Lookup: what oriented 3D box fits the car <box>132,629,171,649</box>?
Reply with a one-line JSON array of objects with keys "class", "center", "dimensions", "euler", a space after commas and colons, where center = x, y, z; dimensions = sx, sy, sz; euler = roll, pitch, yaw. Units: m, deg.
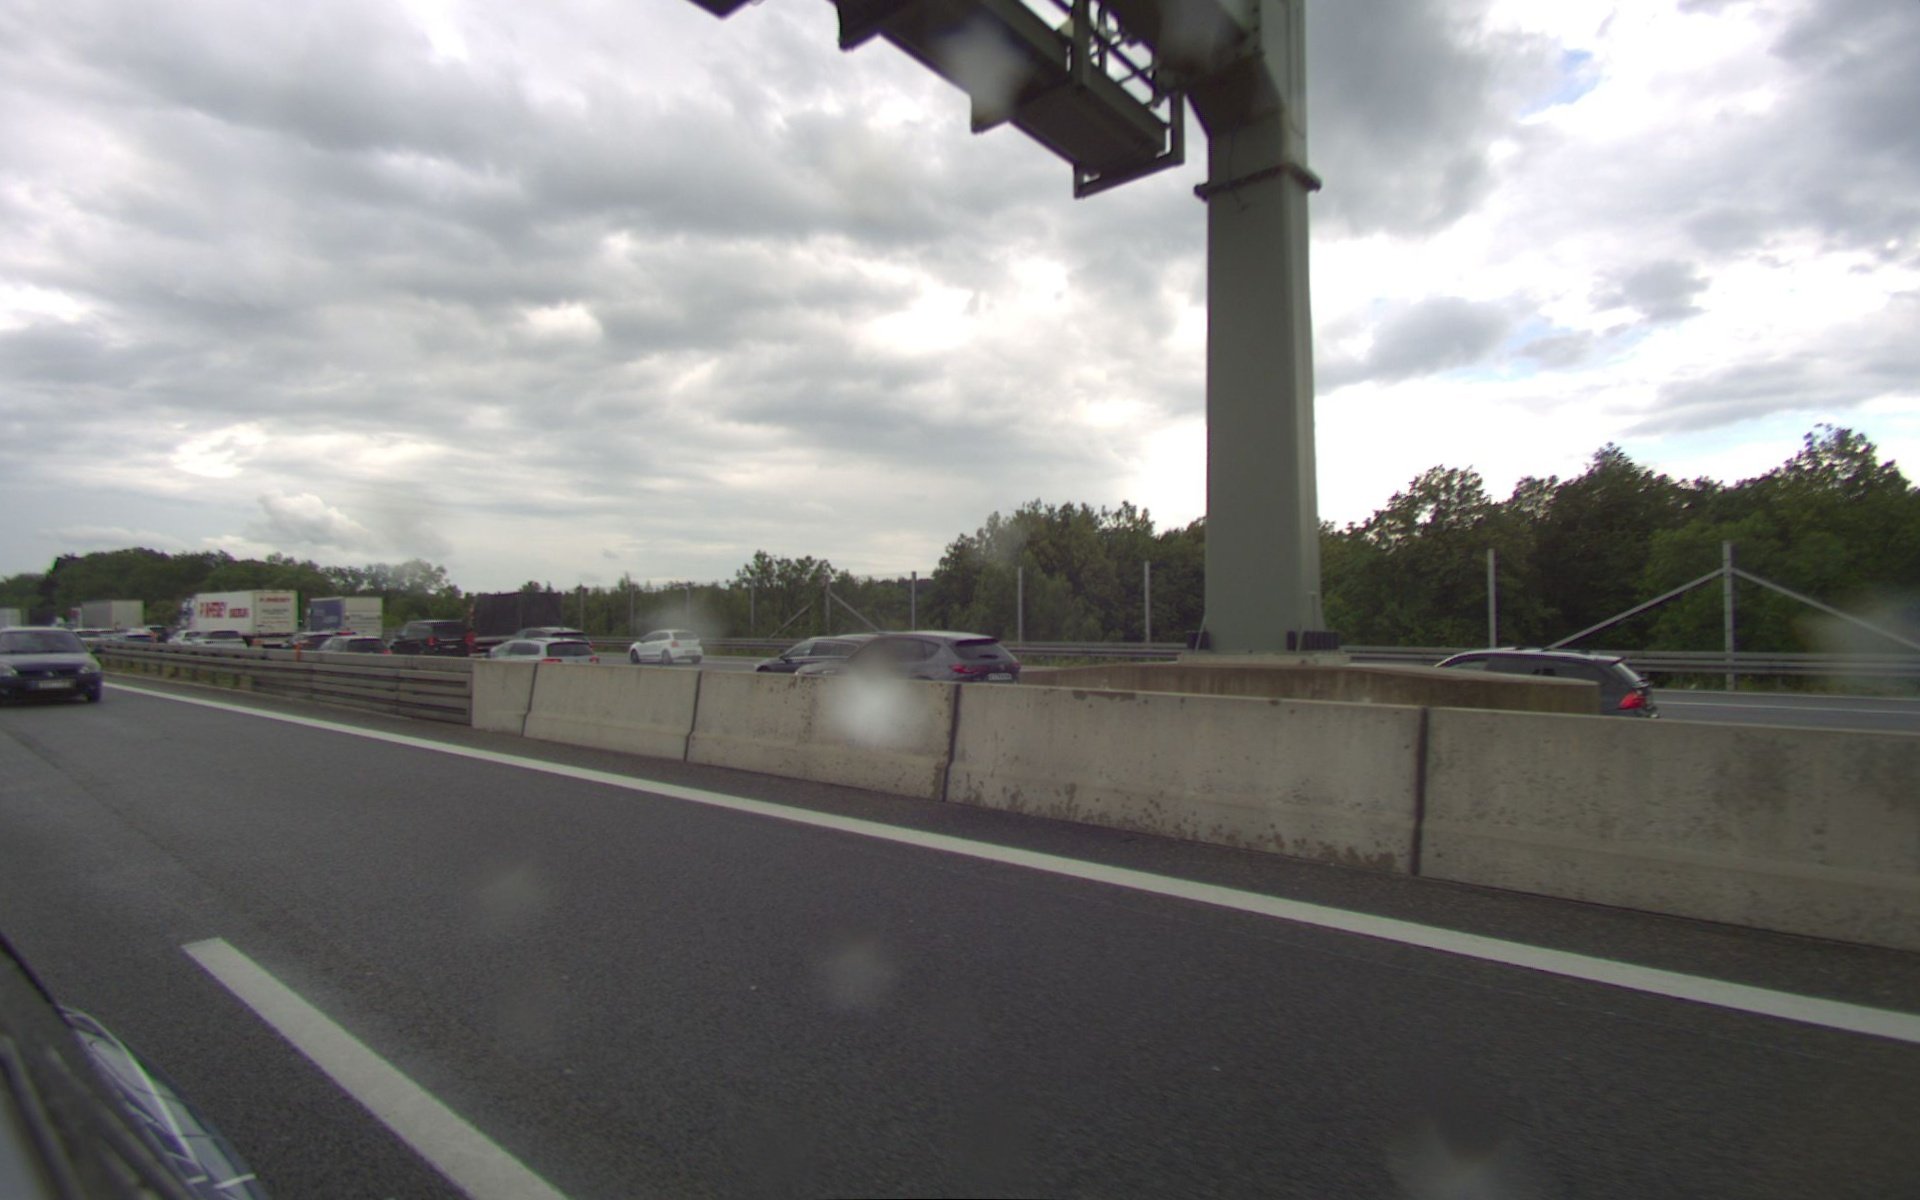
[{"class": "car", "center": [-71.640, 3.471, 89.623], "dimensions": [4.572, 1.761, 1.947], "euler": [-2, -3, 41]}]

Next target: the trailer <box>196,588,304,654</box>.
[{"class": "trailer", "center": [-48.918, 1.569, 69.533], "dimensions": [11.947, 4.226, 3.154], "euler": [-2, -3, 40]}]

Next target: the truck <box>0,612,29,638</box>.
[{"class": "truck", "center": [-151.342, 3.976, 161.470], "dimensions": [11.686, 4.012, 2.692], "euler": [-2, -2, 41]}]

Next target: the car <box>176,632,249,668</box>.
[{"class": "car", "center": [-36.970, 2.451, 50.027], "dimensions": [4.718, 1.660, 1.853], "euler": [-2, -3, 40]}]

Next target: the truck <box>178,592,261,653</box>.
[{"class": "truck", "center": [-54.189, 1.717, 73.984], "dimensions": [7.731, 4.226, 3.145], "euler": [-2, -3, 40]}]

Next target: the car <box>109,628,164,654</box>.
[{"class": "car", "center": [-46.691, 2.298, 57.349], "dimensions": [4.727, 1.451, 1.628], "euler": [-2, -2, 41]}]

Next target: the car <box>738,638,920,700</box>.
[{"class": "car", "center": [-3.295, 1.646, 24.876], "dimensions": [4.560, 1.350, 1.870], "euler": [-2, -3, 40]}]

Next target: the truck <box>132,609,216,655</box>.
[{"class": "truck", "center": [-75.141, 3.146, 96.473], "dimensions": [17.732, 4.052, 2.621], "euler": [-2, -3, 40]}]

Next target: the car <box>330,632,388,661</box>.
[{"class": "car", "center": [-33.864, 2.616, 57.004], "dimensions": [4.103, 1.576, 1.628], "euler": [-2, -3, 41]}]

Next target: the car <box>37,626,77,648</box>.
[{"class": "car", "center": [-69.440, 2.848, 77.830], "dimensions": [4.281, 1.631, 1.773], "euler": [-2, -2, 41]}]

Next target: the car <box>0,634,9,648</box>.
[{"class": "car", "center": [-94.179, 3.962, 98.663], "dimensions": [4.532, 1.364, 1.702], "euler": [-2, -3, 41]}]

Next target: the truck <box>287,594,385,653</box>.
[{"class": "truck", "center": [-43.983, 1.765, 71.170], "dimensions": [10.751, 3.870, 2.868], "euler": [-2, -3, 41]}]

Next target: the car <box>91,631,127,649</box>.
[{"class": "car", "center": [-72.196, 3.386, 85.830], "dimensions": [4.857, 1.522, 1.628], "euler": [-2, -3, 41]}]

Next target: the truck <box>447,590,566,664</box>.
[{"class": "truck", "center": [-23.368, 1.441, 51.957], "dimensions": [7.801, 3.564, 2.438], "euler": [-2, -3, 40]}]

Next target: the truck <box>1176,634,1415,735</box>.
[{"class": "truck", "center": [6.524, 1.562, 19.879], "dimensions": [3.997, 1.760, 1.973], "euler": [-2, -2, 40]}]

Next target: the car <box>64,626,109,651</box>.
[{"class": "car", "center": [-58.861, 2.570, 68.158], "dimensions": [3.998, 1.631, 1.773], "euler": [-2, -2, 41]}]

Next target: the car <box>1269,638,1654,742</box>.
[{"class": "car", "center": [7.689, 1.305, 15.895], "dimensions": [5.125, 1.368, 1.780], "euler": [-2, -3, 40]}]

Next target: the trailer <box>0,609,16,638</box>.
[{"class": "trailer", "center": [-139.383, 3.439, 146.455], "dimensions": [11.594, 4.092, 2.789], "euler": [-2, -1, 41]}]

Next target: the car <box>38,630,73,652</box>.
[{"class": "car", "center": [-88.232, 3.975, 98.718], "dimensions": [5.671, 2.068, 1.802], "euler": [-2, -3, 41]}]

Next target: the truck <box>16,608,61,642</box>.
[{"class": "truck", "center": [-98.466, 2.727, 108.101], "dimensions": [8.535, 3.425, 2.493], "euler": [-2, -3, 41]}]

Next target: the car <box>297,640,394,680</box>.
[{"class": "car", "center": [-21.581, 2.065, 35.478], "dimensions": [4.184, 1.299, 1.685], "euler": [-2, -3, 40]}]

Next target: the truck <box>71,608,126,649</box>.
[{"class": "truck", "center": [-88.167, 2.924, 103.516], "dimensions": [7.569, 3.963, 3.166], "euler": [-2, -1, 41]}]

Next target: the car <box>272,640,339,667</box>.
[{"class": "car", "center": [-33.036, 2.692, 51.057], "dimensions": [4.184, 1.299, 1.685], "euler": [-2, -3, 40]}]

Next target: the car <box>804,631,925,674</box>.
[{"class": "car", "center": [-3.429, 1.846, 35.794], "dimensions": [4.338, 1.437, 1.744], "euler": [-2, -3, 40]}]

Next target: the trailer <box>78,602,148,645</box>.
[{"class": "trailer", "center": [-82.756, 2.350, 98.800], "dimensions": [13.007, 3.963, 3.210], "euler": [-2, -1, 41]}]

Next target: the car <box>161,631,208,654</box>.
[{"class": "car", "center": [-51.083, 2.778, 66.655], "dimensions": [4.541, 1.418, 1.628], "euler": [-2, -2, 41]}]

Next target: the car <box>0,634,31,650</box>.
[{"class": "car", "center": [-83.866, 3.699, 89.658], "dimensions": [4.623, 1.364, 1.702], "euler": [-2, -3, 41]}]

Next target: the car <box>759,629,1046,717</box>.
[{"class": "car", "center": [-1.176, 1.246, 18.398], "dimensions": [5.252, 1.368, 2.058], "euler": [-2, -3, 40]}]

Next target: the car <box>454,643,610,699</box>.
[{"class": "car", "center": [-11.604, 1.857, 27.303], "dimensions": [4.941, 1.350, 1.870], "euler": [-2, -3, 40]}]

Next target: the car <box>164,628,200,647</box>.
[{"class": "car", "center": [-64.448, 3.112, 83.803], "dimensions": [3.998, 1.557, 1.628], "euler": [-2, -3, 41]}]

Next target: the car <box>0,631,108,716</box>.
[{"class": "car", "center": [-17.870, 1.340, 19.368], "dimensions": [5.015, 1.418, 1.758], "euler": [-2, -2, 42]}]

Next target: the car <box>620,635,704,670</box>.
[{"class": "car", "center": [-12.896, 2.246, 43.725], "dimensions": [4.000, 1.437, 1.567], "euler": [-2, -3, 40]}]

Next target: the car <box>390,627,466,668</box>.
[{"class": "car", "center": [-25.693, 2.268, 48.791], "dimensions": [4.817, 1.905, 1.567], "euler": [-2, -3, 40]}]

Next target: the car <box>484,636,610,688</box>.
[{"class": "car", "center": [-14.114, 2.069, 34.436], "dimensions": [5.131, 1.610, 1.862], "euler": [-2, -3, 40]}]

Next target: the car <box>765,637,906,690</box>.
[{"class": "car", "center": [-3.756, 1.859, 30.110], "dimensions": [4.413, 1.458, 1.604], "euler": [-2, -3, 40]}]
